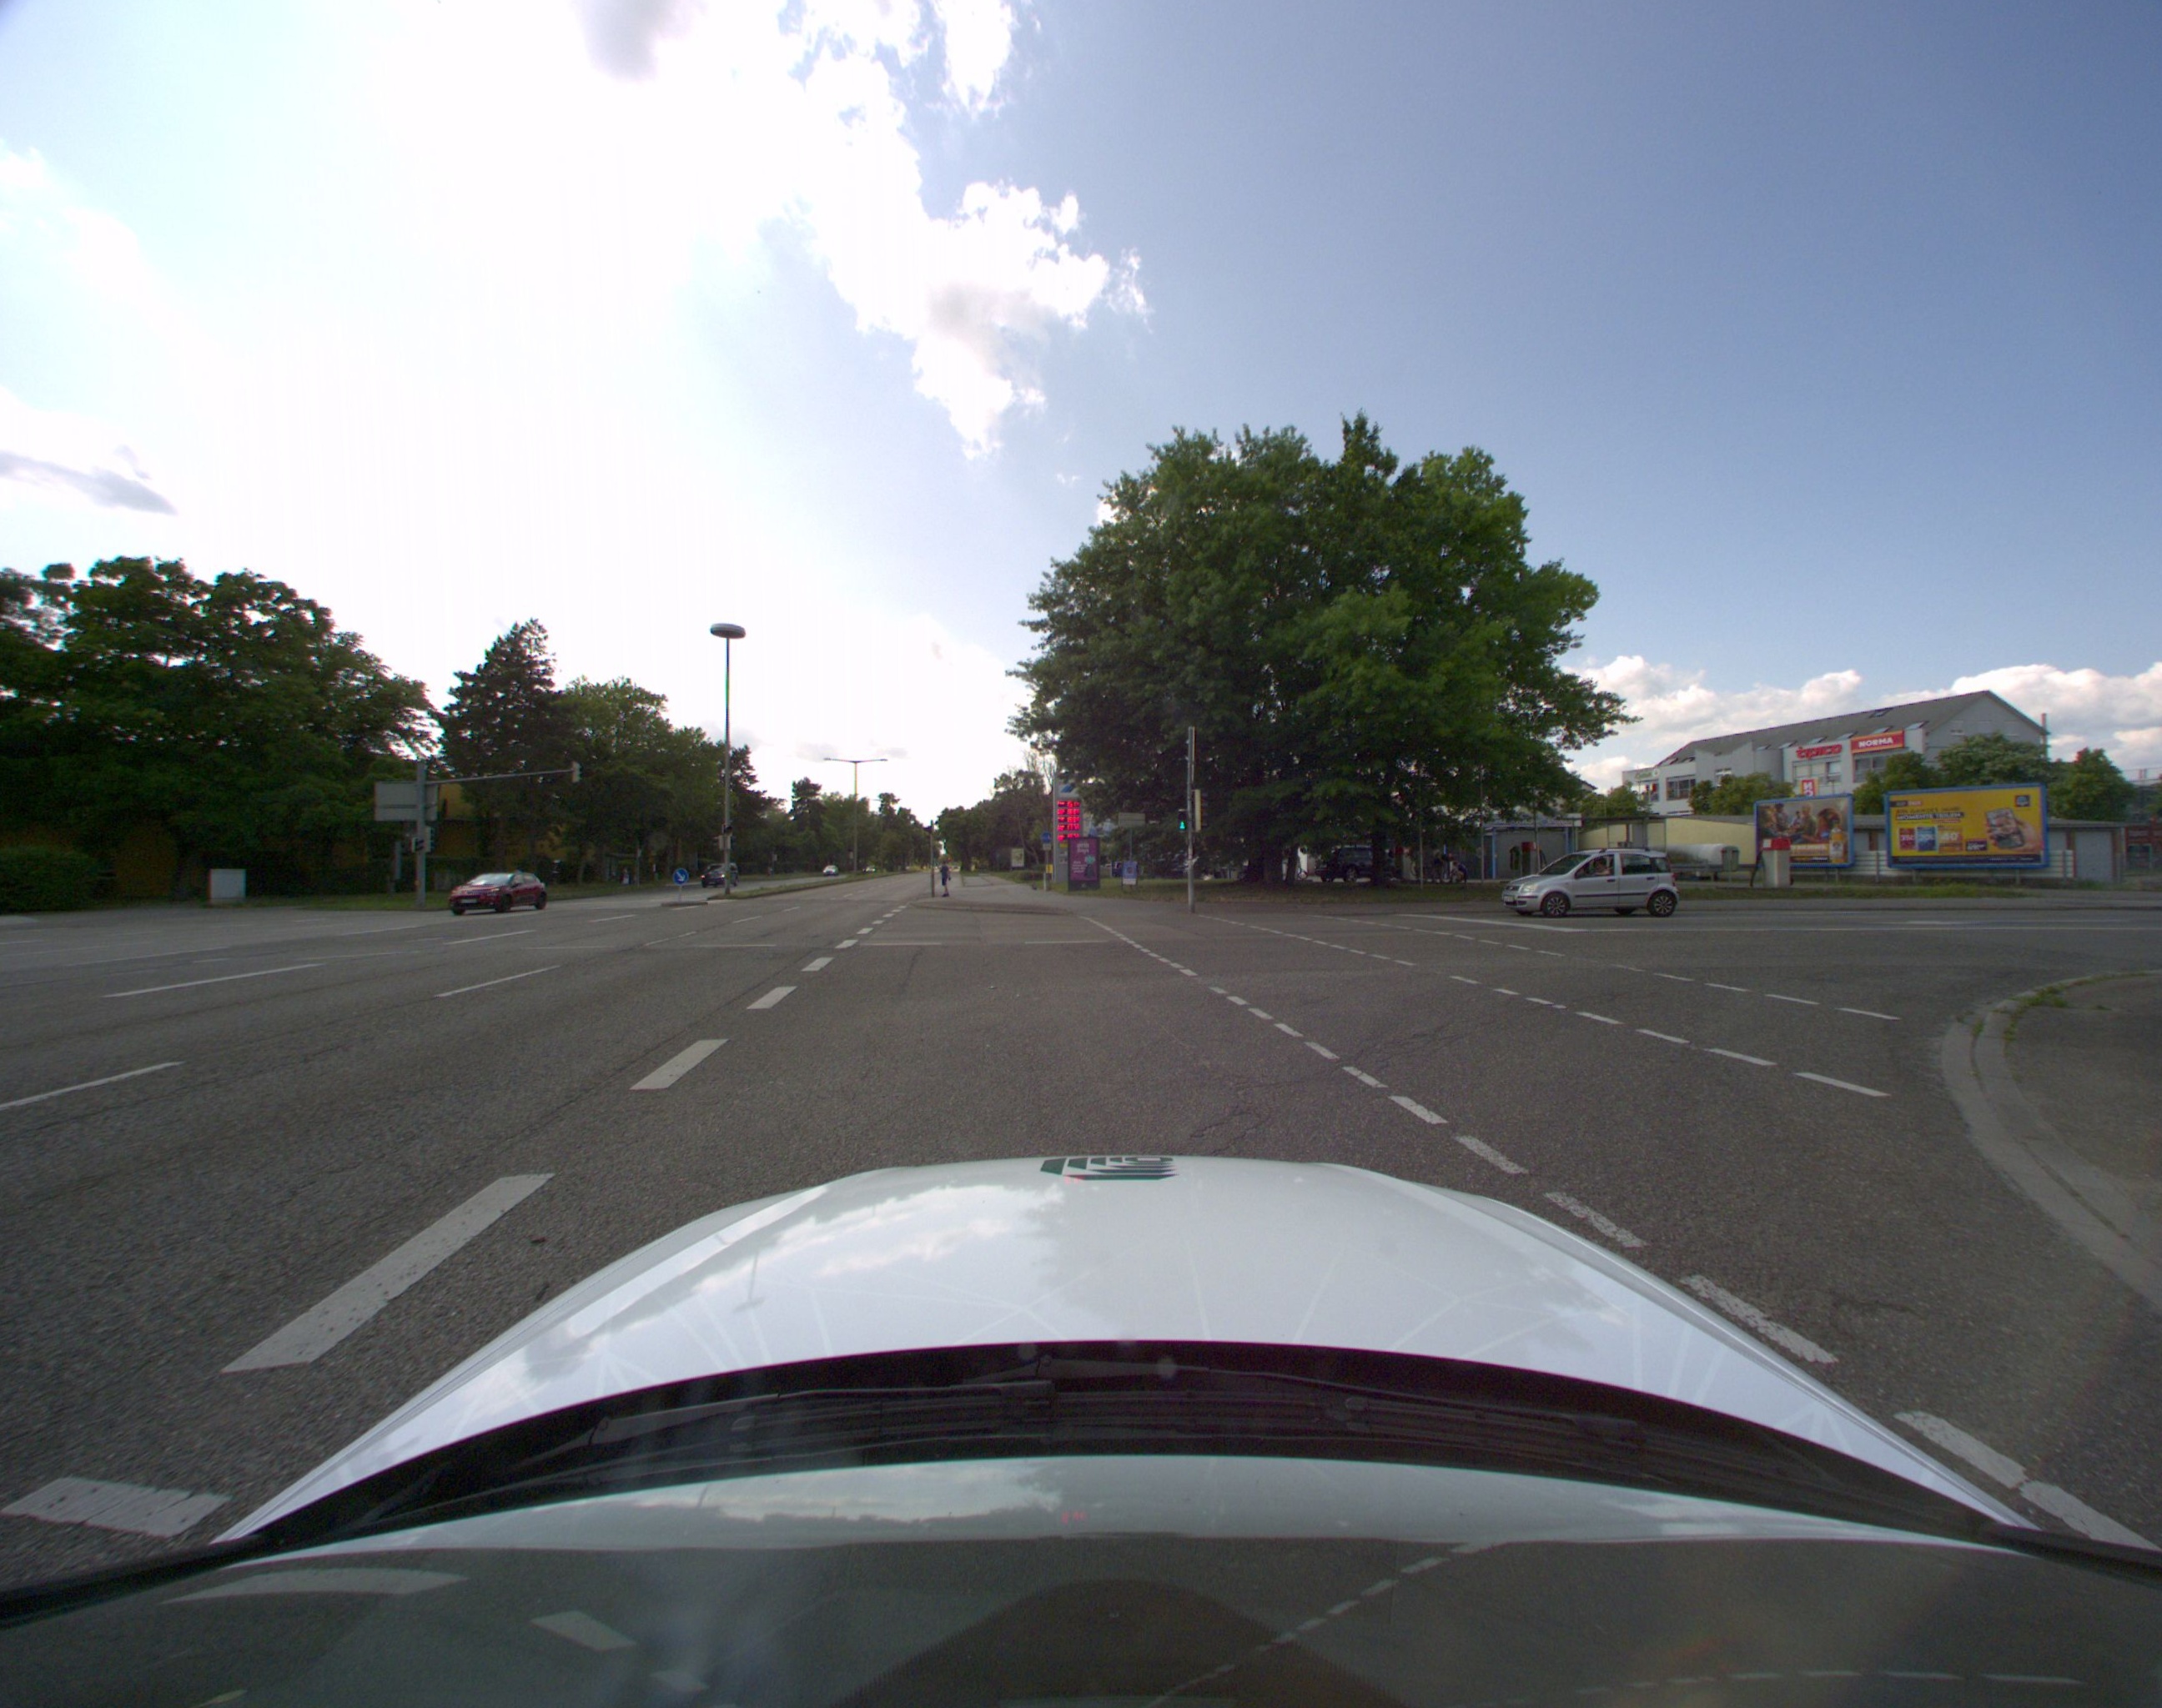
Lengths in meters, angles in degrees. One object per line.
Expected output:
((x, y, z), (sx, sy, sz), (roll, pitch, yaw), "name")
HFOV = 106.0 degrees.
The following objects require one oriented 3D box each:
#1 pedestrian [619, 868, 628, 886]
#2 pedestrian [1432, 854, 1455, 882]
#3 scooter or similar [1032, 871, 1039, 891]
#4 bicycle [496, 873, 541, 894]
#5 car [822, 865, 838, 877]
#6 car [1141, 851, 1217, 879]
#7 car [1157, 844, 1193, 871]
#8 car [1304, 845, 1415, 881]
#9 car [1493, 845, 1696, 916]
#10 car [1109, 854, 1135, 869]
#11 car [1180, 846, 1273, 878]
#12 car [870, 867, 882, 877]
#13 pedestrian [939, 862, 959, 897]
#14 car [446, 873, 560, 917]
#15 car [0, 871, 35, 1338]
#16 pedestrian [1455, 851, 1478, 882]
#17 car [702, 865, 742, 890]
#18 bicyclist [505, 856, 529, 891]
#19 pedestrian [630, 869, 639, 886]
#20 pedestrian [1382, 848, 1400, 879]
((-38.768, 1.982, 68.993), (0.572, 1.496, 0.418), (2, -2, -24), "pedestrian")
((15.303, 0.594, 34.370), (0.756, 1.190, 0.649), (-1, -3, 37), "pedestrian")
((-2.323, 1.381, 41.753), (0.220, 0.979, 1.268), (-1, -1, -8), "scooter or similar")
((-32.156, 1.691, 46.589), (0.749, 1.119, 2.122), (-1, -1, 13), "bicycle")
((-39.570, 2.687, 128.447), (1.860, 1.705, 4.441), (-1, -1, -10), "car")
((7.252, 0.805, 60.680), (5.185, 2.004, 2.145), (-1, -1, -12), "car")
((8.750, 0.370, 76.193), (1.750, 2.454, 5.729), (-1, -1, -10), "car")
((13.027, 0.410, 38.162), (4.564, 1.596, 2.140), (-1, -1, -19), "car")
((11.555, 0.587, 18.488), (3.581, 1.517, 1.561), (-1, -1, 4), "car")
((3.932, 0.739, 79.039), (1.750, 1.454, 3.727), (-1, -1, -10), "car")
((8.887, 0.465, 49.782), (5.197, 1.827, 2.140), (-1, -1, -19), "car")
((-38.914, 3.423, 154.349), (1.860, 1.705, 4.439), (-1, -1, -11), "car")
((-6.005, 1.151, 36.986), (0.728, 1.532, 0.753), (-1, -1, -25), "pedestrian")
((-21.439, 1.465, 30.438), (1.772, 1.465, 4.438), (-1, -1, -11), "car")
((-3.931, 0.739, 0.768), (1.570, 1.497, 3.527), (1, -2, -10), "car")
((16.028, 0.537, 33.845), (0.756, 1.256, 0.649), (-1, -3, 37), "pedestrian")
((-29.529, 1.899, 67.163), (1.765, 1.857, 4.802), (-1, 0, -9), "car")
((-32.187, 1.109, 46.507), (0.746, 2.014, 0.834), (-1, -1, 13), "bicyclist")
((-38.349, 2.030, 69.916), (0.572, 1.496, 0.418), (2, -2, -24), "pedestrian")
((15.224, 0.452, 39.980), (0.561, 1.495, 0.616), (2, -2, -16), "pedestrian")
